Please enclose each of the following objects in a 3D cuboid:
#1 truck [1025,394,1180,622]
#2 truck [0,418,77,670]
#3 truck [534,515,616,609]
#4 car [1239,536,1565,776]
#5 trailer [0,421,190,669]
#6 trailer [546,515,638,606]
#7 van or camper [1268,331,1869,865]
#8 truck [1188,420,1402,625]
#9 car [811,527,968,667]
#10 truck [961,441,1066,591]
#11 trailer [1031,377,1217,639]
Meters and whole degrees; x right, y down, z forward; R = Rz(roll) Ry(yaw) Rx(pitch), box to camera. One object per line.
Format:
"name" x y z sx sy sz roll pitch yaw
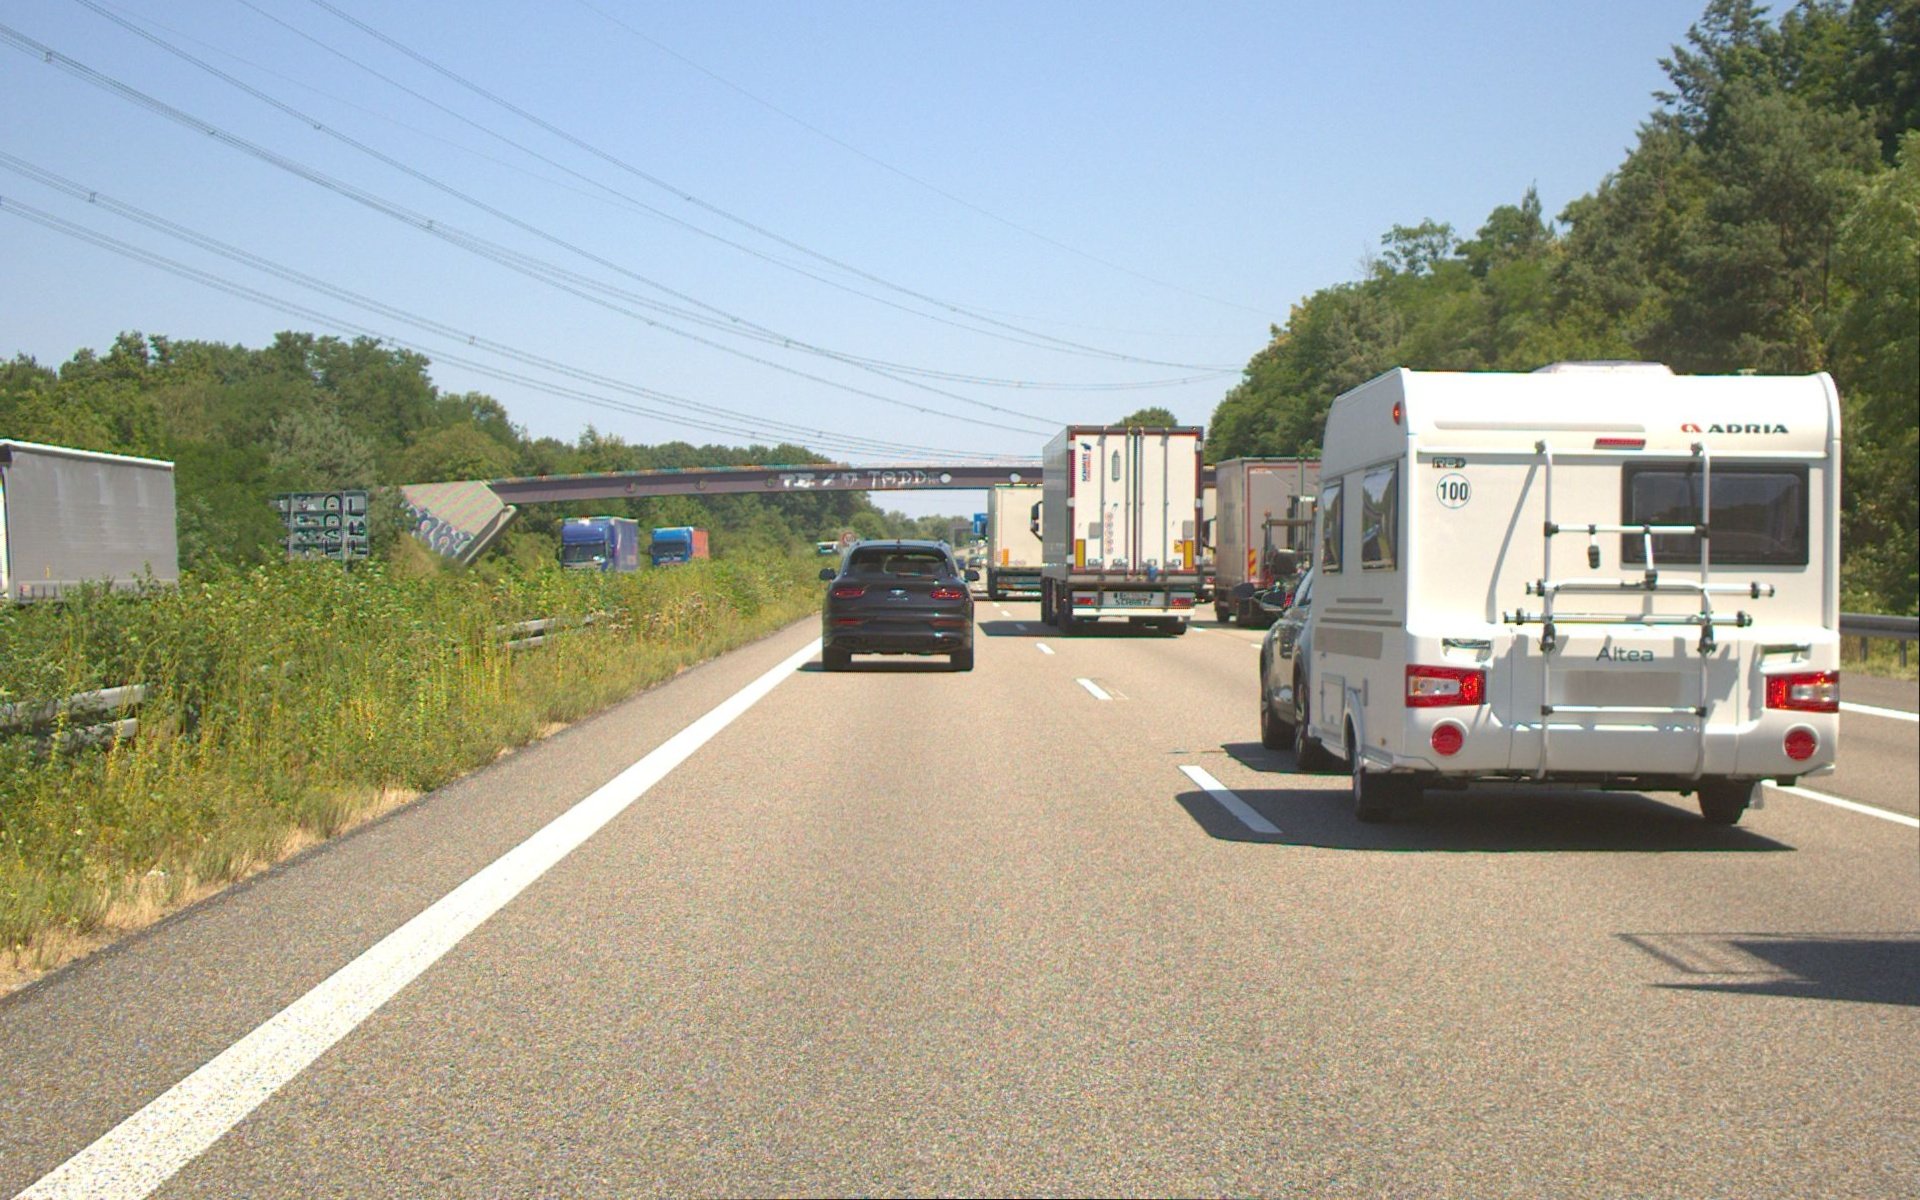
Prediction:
"truck" 3.157 -2.027 77.800 3.087 4.868 6.598 1 0 0
"truck" -18.457 -0.950 61.766 3.368 4.393 6.556 -2 1 -1
"truck" -19.008 -1.918 170.146 3.087 4.392 6.801 -3 1 0
"car" 3.232 0.350 25.993 1.879 1.607 4.702 1 1 1
"trailer" -18.563 -1.009 68.264 3.368 4.393 14.321 -3 1 -1
"trailer" -19.037 -2.068 178.601 3.087 4.392 14.232 -3 1 0
"van or camper" 3.344 -0.070 20.454 2.439 2.665 6.350 0 1 0
"truck" 7.417 -1.689 78.033 3.571 4.230 11.652 1 1 0
"car" -0.957 -0.074 45.951 1.993 1.766 4.000 -1 1 -1
"truck" 1.842 -2.968 123.492 3.512 5.149 10.259 1 1 0
"trailer" 3.207 -1.794 70.847 3.087 4.868 12.258 1 1 0
